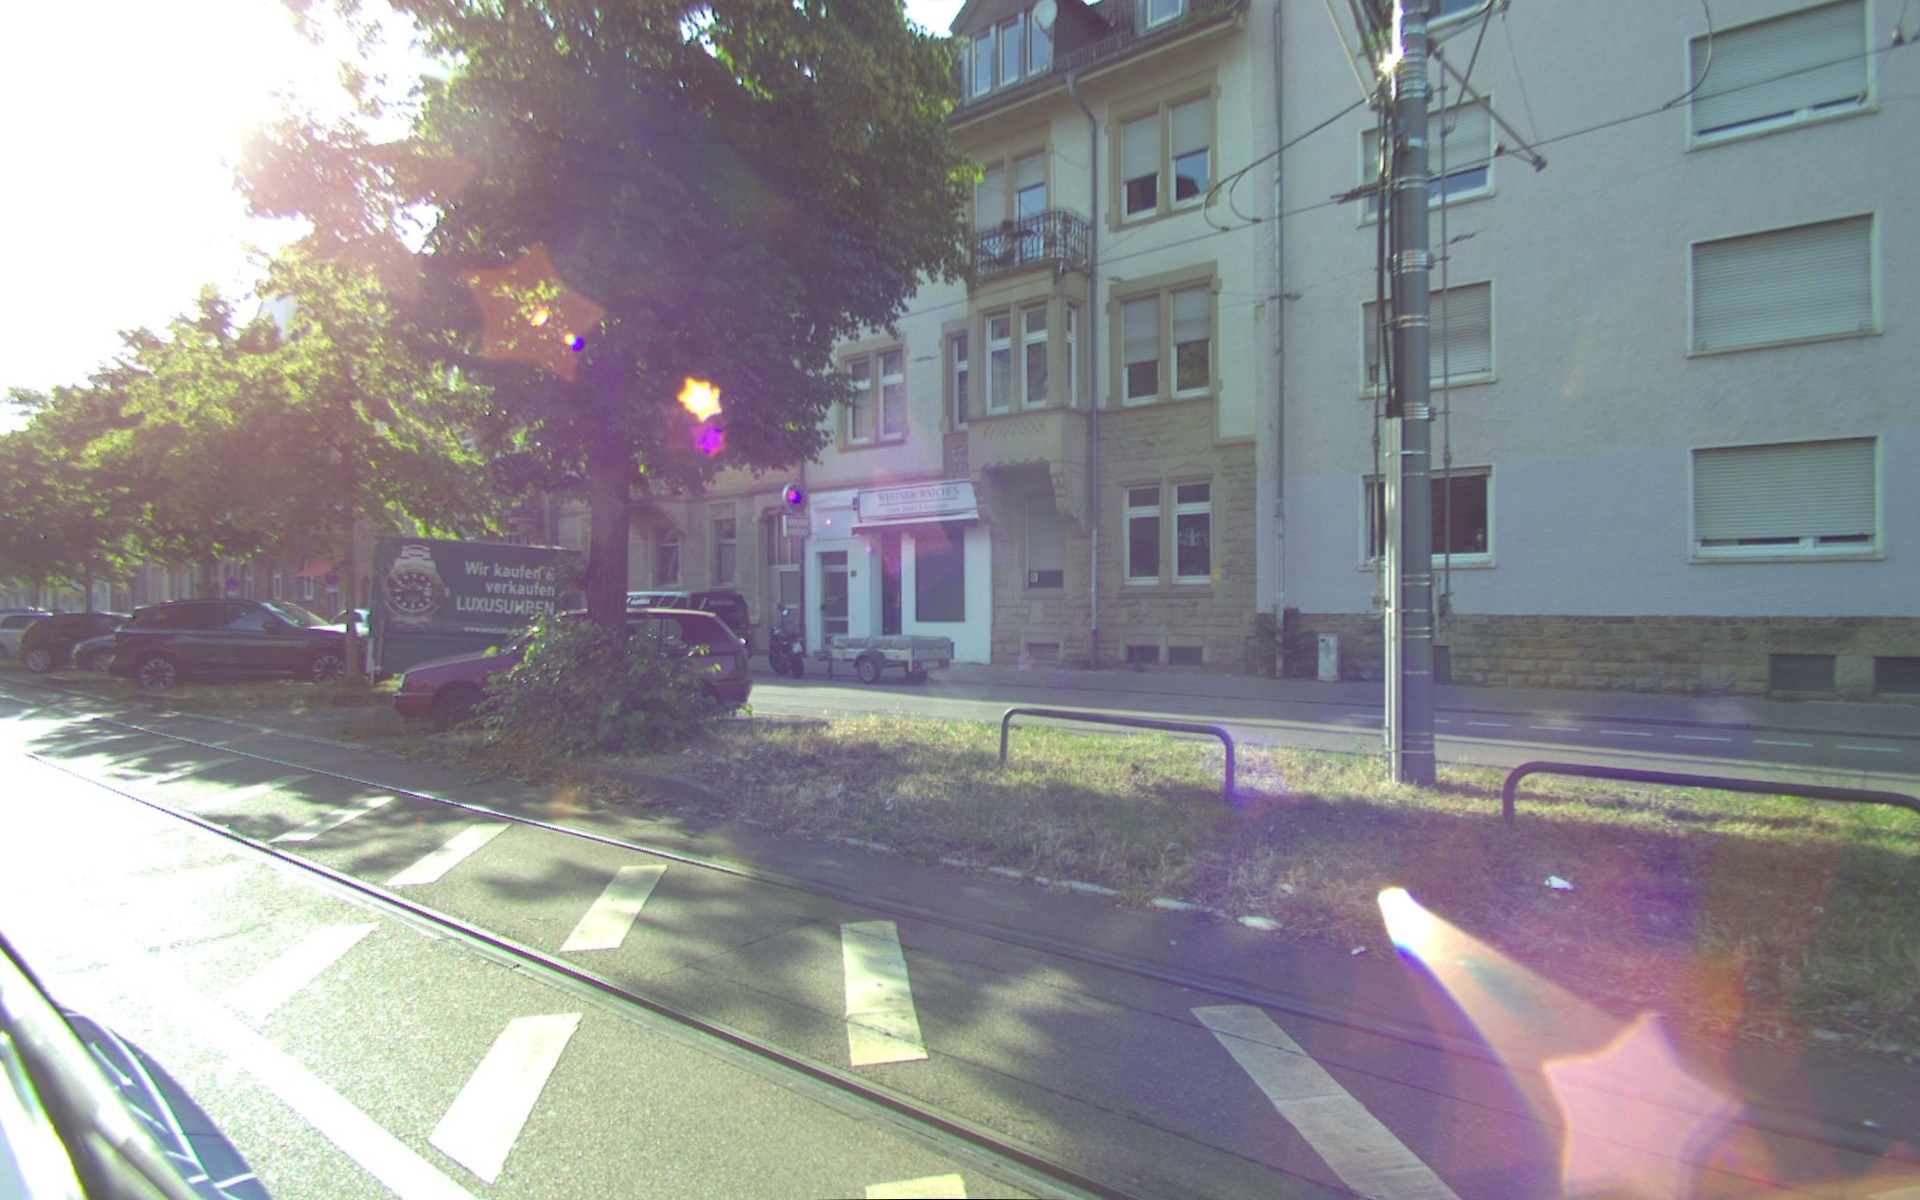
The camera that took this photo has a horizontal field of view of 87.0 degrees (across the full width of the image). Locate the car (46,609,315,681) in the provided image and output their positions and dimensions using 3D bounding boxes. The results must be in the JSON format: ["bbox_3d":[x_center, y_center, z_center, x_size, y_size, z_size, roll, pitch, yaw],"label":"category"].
[{"bbox_3d":[-17.552,0.969,23.037,4.532,1.392,1.707,-2,0,-17],"label":"car"}]

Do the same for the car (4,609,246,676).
[{"bbox_3d":[-20.769,1.020,25.367,4.236,1.433,1.963,-2,0,-10],"label":"car"}]

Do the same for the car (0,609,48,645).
[{"bbox_3d":[-39.671,1.094,40.498,4.202,1.433,2.177,-1,0,-10],"label":"car"}]

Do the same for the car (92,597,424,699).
[{"bbox_3d":[-12.950,0.840,19.006,4.642,1.703,2.176,-1,0,-10],"label":"car"}]

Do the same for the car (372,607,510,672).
[{"bbox_3d":[-15.843,1.155,30.799,4.608,1.763,2.143,-1,0,41],"label":"car"}]

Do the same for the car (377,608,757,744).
[{"bbox_3d":[-4.421,0.802,11.881,3.887,1.370,1.677,-1,0,-14],"label":"car"}]

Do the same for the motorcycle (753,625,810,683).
[{"bbox_3d":[-3.698,1.084,20.865,0.626,1.088,1.739,-2,0,-27],"label":"motorcycle"}]

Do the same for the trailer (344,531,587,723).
[{"bbox_3d":[-6.710,0.315,14.061,2.817,2.410,1.728,-2,0,-20],"label":"trailer"}]

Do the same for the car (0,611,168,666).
[{"bbox_3d":[-26.049,1.108,29.636,4.202,1.433,1.685,-2,0,-10],"label":"car"}]

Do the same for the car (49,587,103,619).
[{"bbox_3d":[-57.739,0.198,66.070,3.995,2.029,1.974,-1,0,39],"label":"car"}]

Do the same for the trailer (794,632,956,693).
[{"bbox_3d":[-1.672,1.169,19.631,2.876,0.902,1.427,-1,5,38],"label":"trailer"}]

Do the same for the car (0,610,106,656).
[{"bbox_3d":[-31.778,1.121,33.968,4.202,1.433,2.177,-2,0,-10],"label":"car"}]

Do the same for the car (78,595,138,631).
[{"bbox_3d":[-50.770,0.757,60.278,3.996,2.029,1.974,-1,0,39],"label":"car"}]

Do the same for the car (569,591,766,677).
[{"bbox_3d":[-6.837,0.738,23.422,4.715,1.763,2.143,-1,0,41],"label":"car"}]

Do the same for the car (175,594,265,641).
[{"bbox_3d":[-32.321,0.752,44.164,4.608,1.915,2.143,-1,0,41],"label":"car"}]
